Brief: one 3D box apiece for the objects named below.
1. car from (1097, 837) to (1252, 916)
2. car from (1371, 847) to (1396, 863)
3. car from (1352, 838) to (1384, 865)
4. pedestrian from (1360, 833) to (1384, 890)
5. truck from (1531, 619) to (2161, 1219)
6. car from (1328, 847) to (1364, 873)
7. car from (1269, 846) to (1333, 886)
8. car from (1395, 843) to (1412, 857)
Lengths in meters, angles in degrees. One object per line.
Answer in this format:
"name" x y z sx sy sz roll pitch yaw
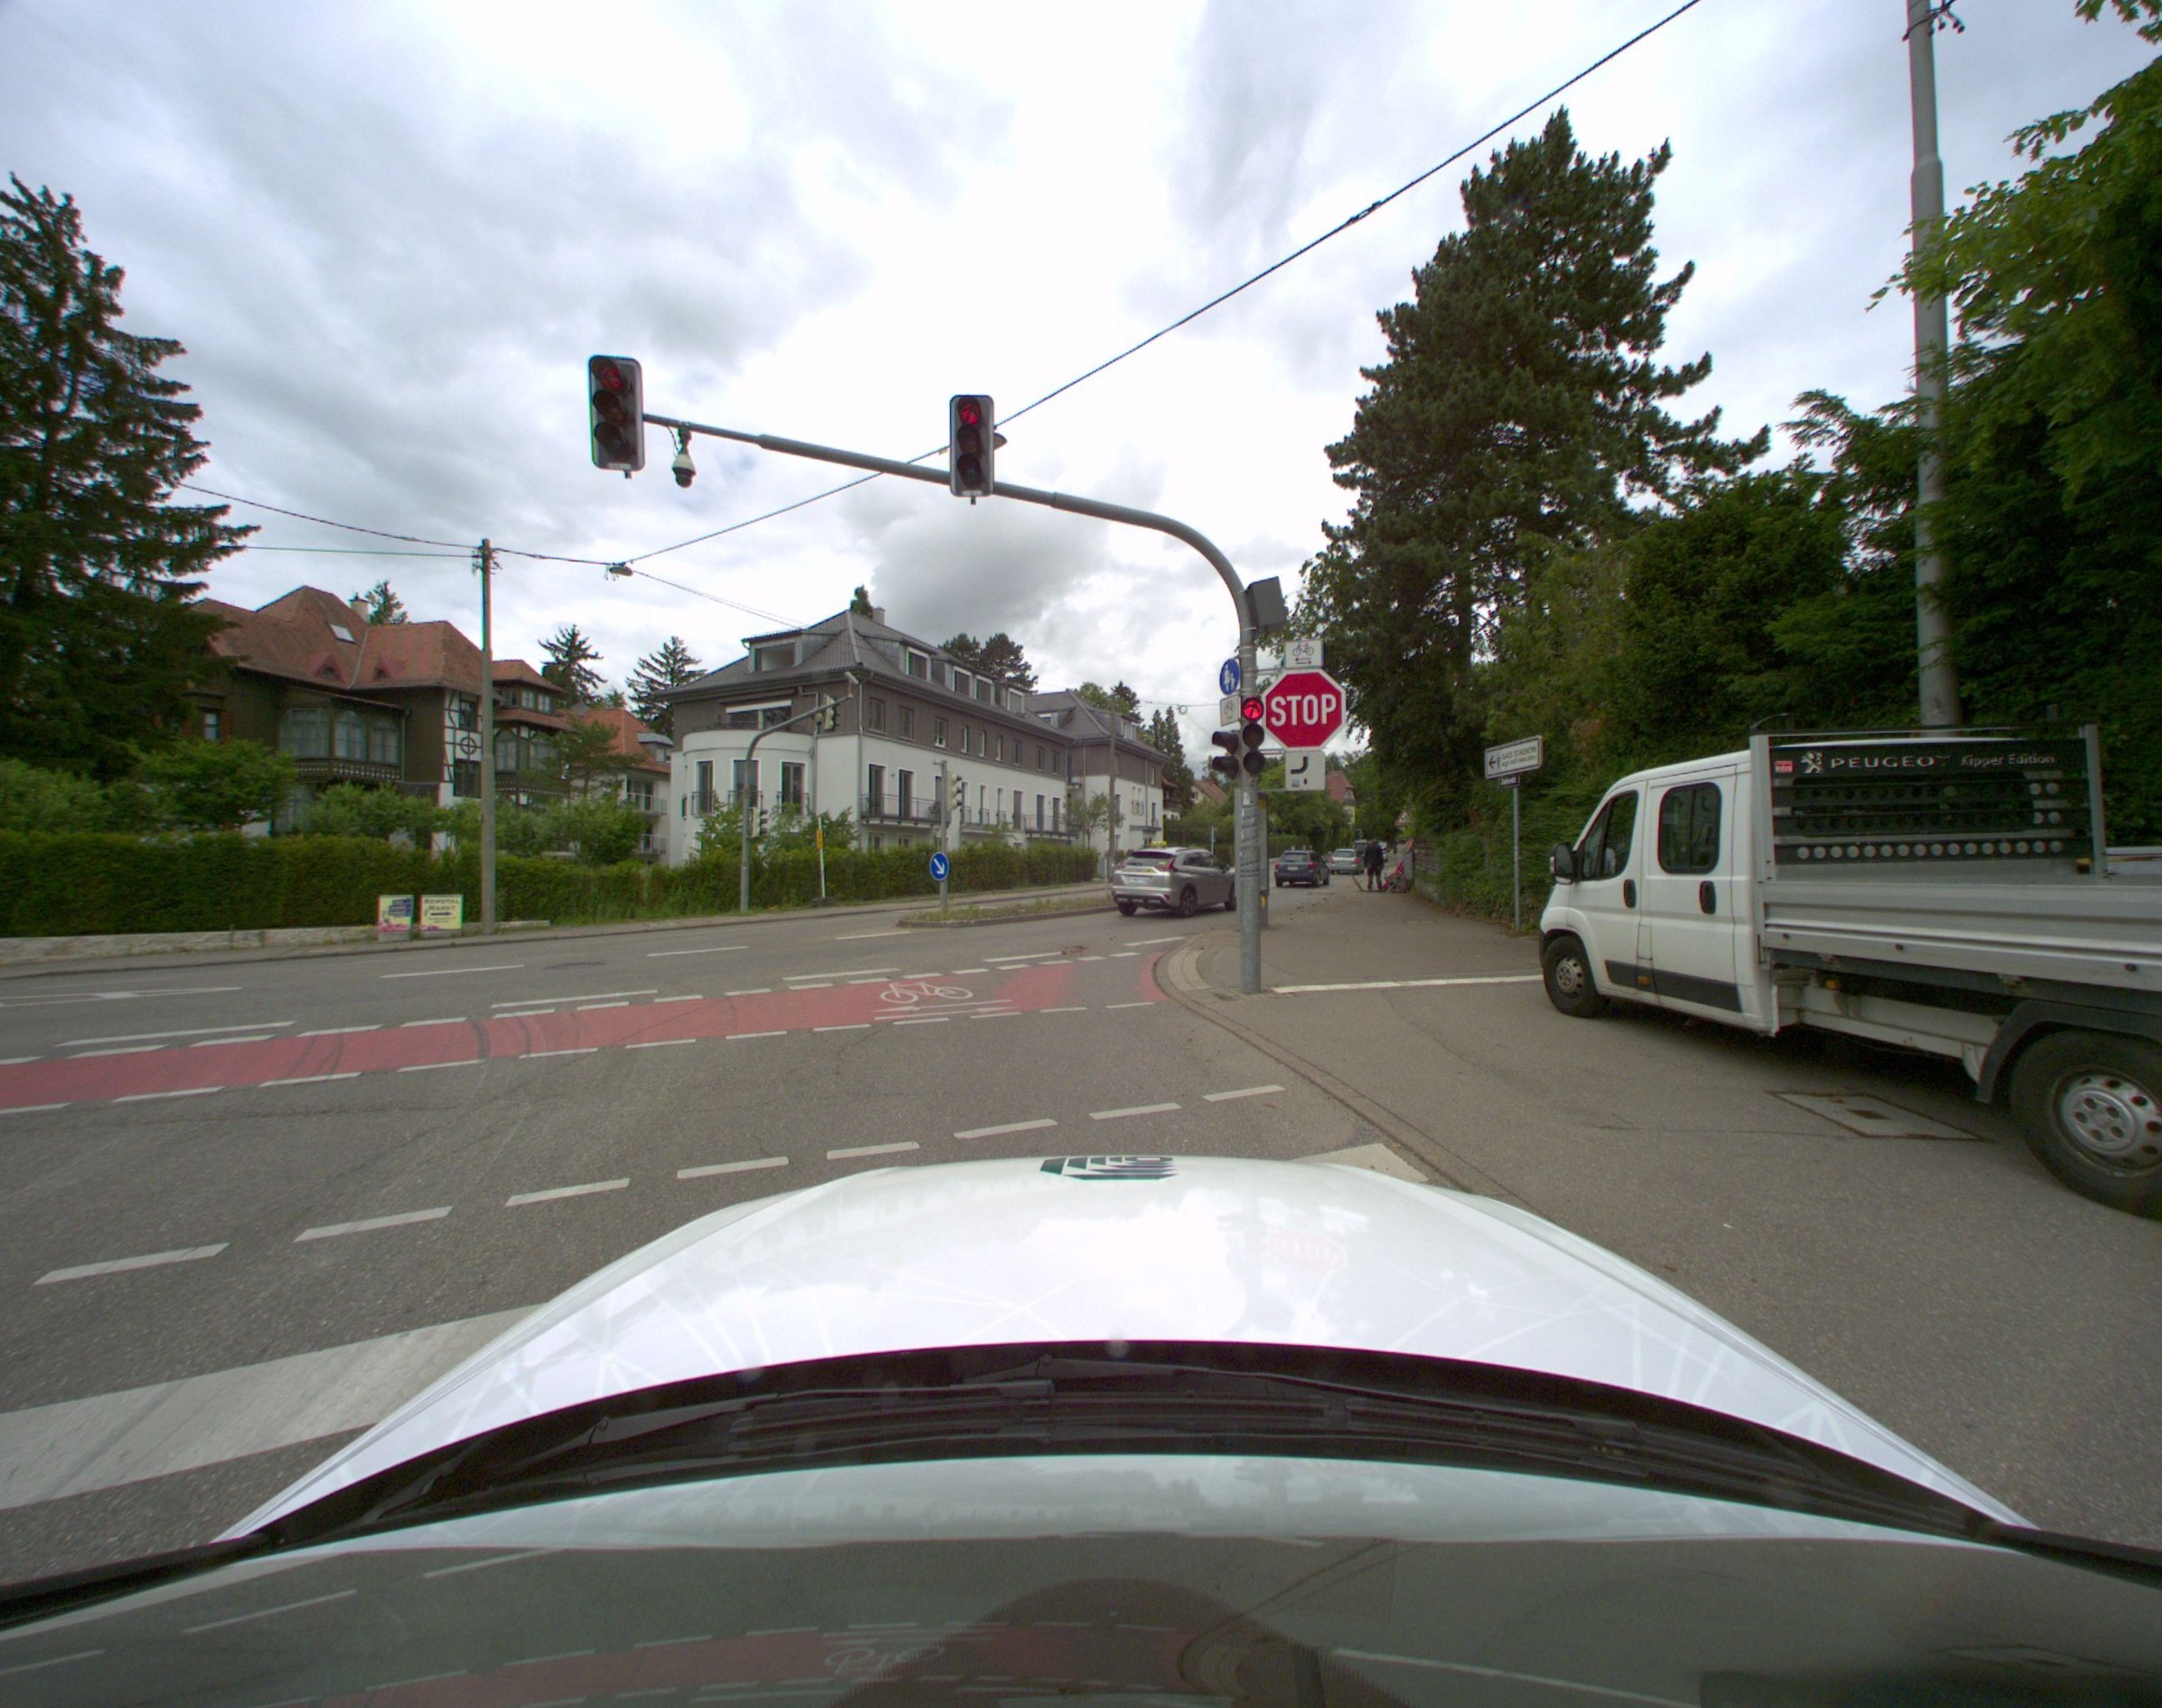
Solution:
"car" 2.464 0.478 20.379 1.790 1.753 4.516 -2 0 36
"car" 28.264 0.053 76.091 1.824 1.459 4.102 1 1 25
"car" 21.842 -0.217 61.864 1.902 1.894 4.935 1 1 23
"pedestrian" 9.772 0.248 27.367 0.594 1.907 0.559 0 -1 2
"truck" 5.266 0.242 4.956 2.198 2.243 5.729 0 0 4
"car" 15.542 0.315 47.623 1.679 1.430 3.769 -2 0 22
"car" 9.369 0.458 34.467 1.783 1.527 4.770 -2 0 25
"car" 43.615 -0.589 110.226 1.922 1.825 4.101 1 1 24
